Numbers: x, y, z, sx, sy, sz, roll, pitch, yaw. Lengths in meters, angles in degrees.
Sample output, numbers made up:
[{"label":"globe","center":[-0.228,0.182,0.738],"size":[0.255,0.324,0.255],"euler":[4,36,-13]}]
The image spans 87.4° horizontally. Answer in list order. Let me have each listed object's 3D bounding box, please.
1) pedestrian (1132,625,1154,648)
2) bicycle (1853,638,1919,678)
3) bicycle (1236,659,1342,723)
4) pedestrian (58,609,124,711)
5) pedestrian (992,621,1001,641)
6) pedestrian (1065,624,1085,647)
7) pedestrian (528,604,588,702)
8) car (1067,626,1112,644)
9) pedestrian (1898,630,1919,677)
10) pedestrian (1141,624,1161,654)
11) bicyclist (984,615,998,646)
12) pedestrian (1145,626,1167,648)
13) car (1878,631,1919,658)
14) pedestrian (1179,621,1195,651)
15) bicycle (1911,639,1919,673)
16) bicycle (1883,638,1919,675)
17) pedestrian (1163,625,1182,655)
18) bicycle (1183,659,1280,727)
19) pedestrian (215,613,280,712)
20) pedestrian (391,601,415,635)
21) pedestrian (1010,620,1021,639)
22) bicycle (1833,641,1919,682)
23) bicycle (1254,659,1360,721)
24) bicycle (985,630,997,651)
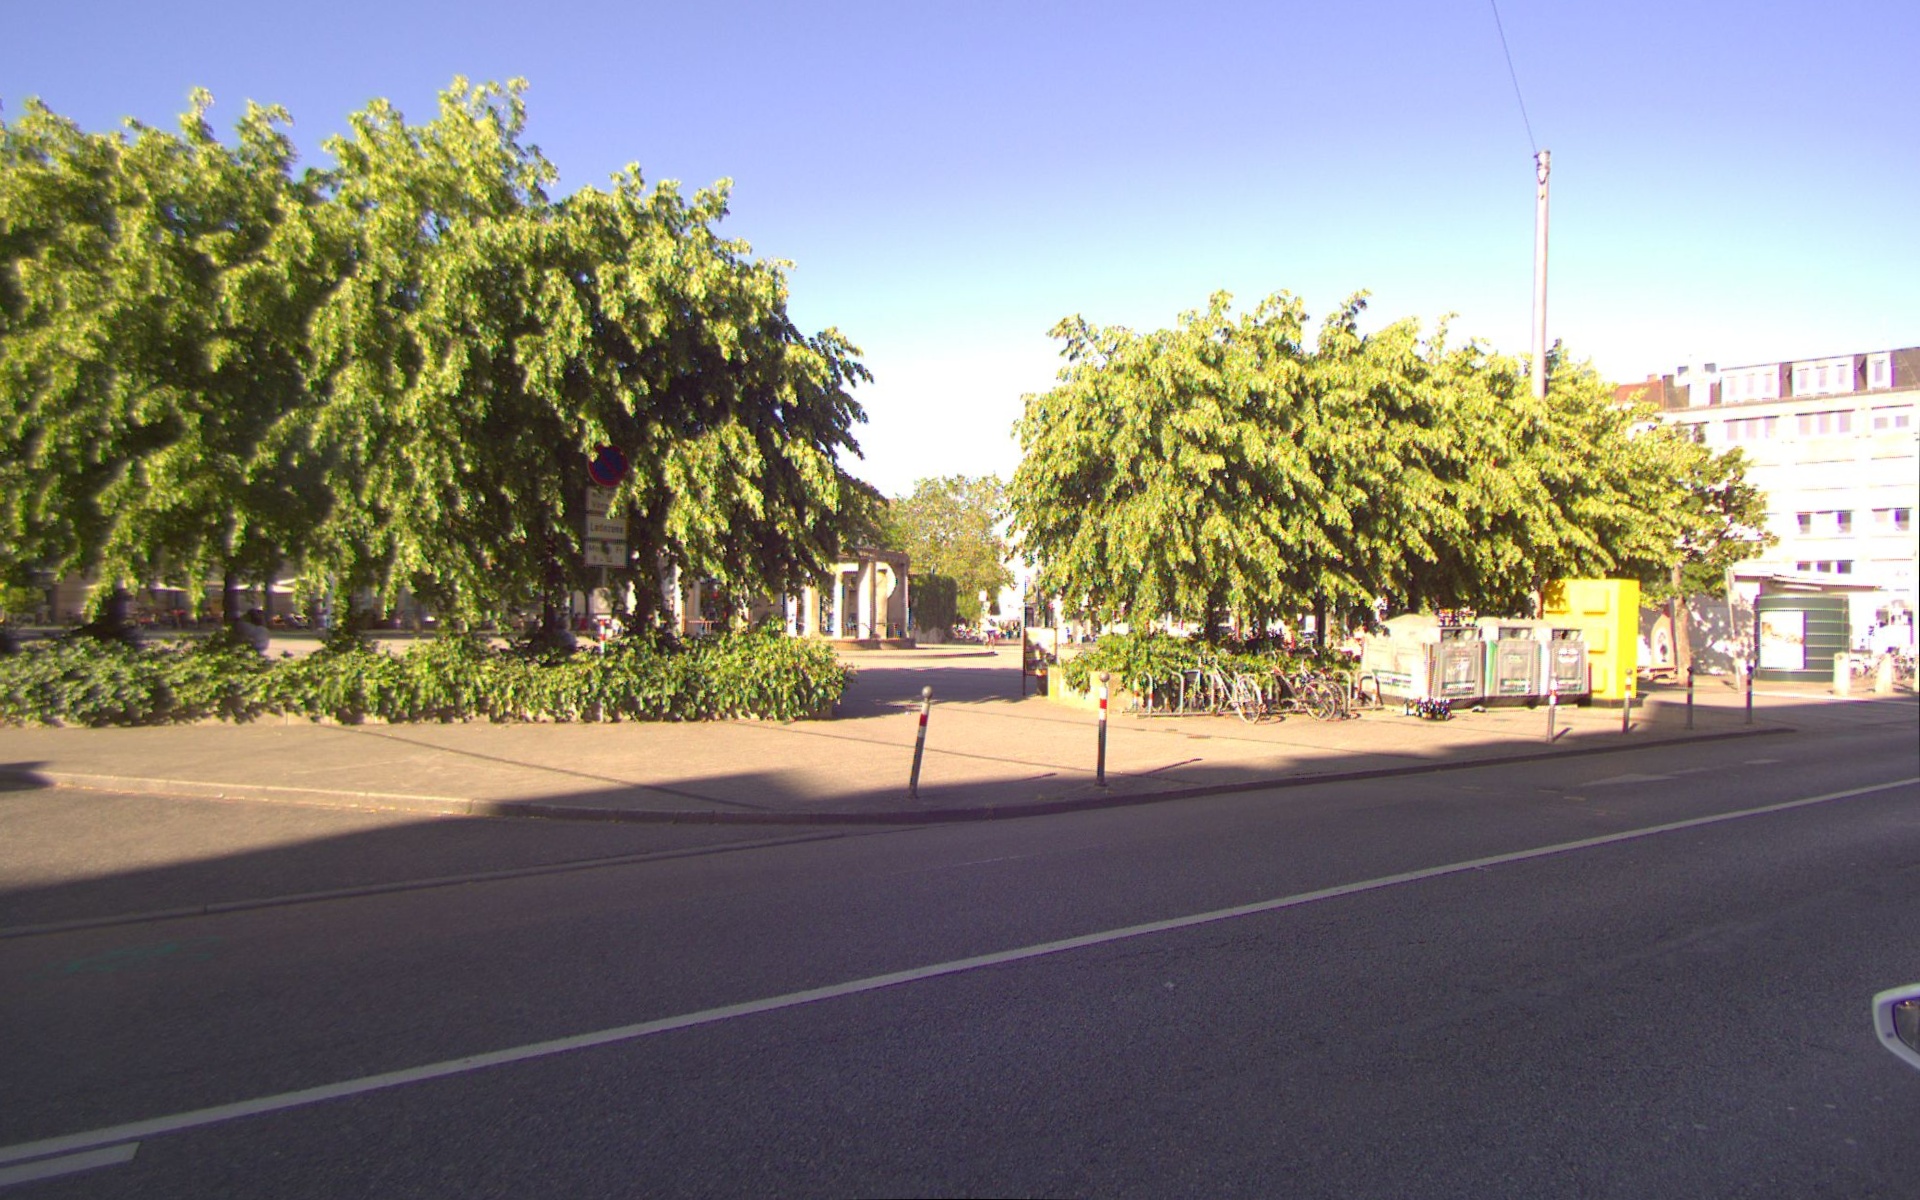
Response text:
[{"label":"pedestrian","center":[10.195,2.044,55.876],"size":[0.855,1.230,0.933],"euler":[2,0,-15]},{"label":"bicycle","center":[33.137,2.038,35.065],"size":[0.923,1.291,2.764],"euler":[2,0,-32]},{"label":"bicycle","center":[5.267,1.441,16.185],"size":[0.465,0.870,1.659],"euler":[2,0,-35]},{"label":"pedestrian","center":[-12.866,0.869,14.885],"size":[0.615,1.456,0.647],"euler":[2,0,-32]},{"label":"pedestrian","center":[3.789,3.272,104.569],"size":[0.836,2.040,0.855],"euler":[2,0,10]},{"label":"pedestrian","center":[9.576,2.961,83.786],"size":[1.277,1.867,1.100],"euler":[2,0,28]},{"label":"pedestrian","center":[-6.555,0.844,16.388],"size":[0.688,1.541,0.676],"euler":[2,0,-41]},{"label":"car","center":[11.705,3.159,90.896],"size":[1.538,1.550,4.086],"euler":[1,-1,-39]},{"label":"pedestrian","center":[34.314,1.916,35.874],"size":[1.080,1.633,1.260],"euler":[2,0,40]},{"label":"pedestrian","center":[10.100,2.047,53.176],"size":[0.904,1.541,0.936],"euler":[2,0,15]},{"label":"bicyclist","center":[1.792,1.763,57.734],"size":[0.773,1.722,0.896],"euler":[2,0,3]},{"label":"pedestrian","center":[11.013,2.078,56.451],"size":[0.885,1.230,0.864],"euler":[2,0,-15]},{"label":"car","center":[54.390,2.453,55.884],"size":[4.640,1.448,1.729],"euler":[-4,-5,37]},{"label":"pedestrian","center":[11.843,1.864,52.362],"size":[0.598,1.528,0.557],"euler":[2,0,-15]},{"label":"bicycle","center":[37.239,2.153,37.275],"size":[0.932,1.276,2.648],"euler":[2,0,-32]},{"label":"bicycle","center":[35.255,2.082,36.131],"size":[0.932,1.287,2.859],"euler":[2,0,-32]},{"label":"pedestrian","center":[11.081,2.075,52.346],"size":[0.762,1.541,0.838],"euler":[2,0,1]},{"label":"bicycle","center":[4.167,1.408,15.527],"size":[0.464,0.897,1.558],"euler":[2,0,-29]},{"label":"pedestrian","center":[-10.858,0.932,15.302],"size":[0.581,1.456,0.615],"euler":[2,0,33]},{"label":"pedestrian","center":[-25.609,0.836,46.153],"size":[0.683,1.550,0.737],"euler":[2,0,39]},{"label":"pedestrian","center":[5.468,2.925,99.126],"size":[0.891,1.845,0.952],"euler":[2,0,17]},{"label":"bicycle","center":[31.214,2.061,33.763],"size":[0.932,1.211,2.645],"euler":[2,0,-32]},{"label":"bicycle","center":[5.666,1.451,16.481],"size":[0.465,0.870,1.654],"euler":[2,0,-35]},{"label":"bicycle","center":[1.796,2.302,57.905],"size":[0.593,1.116,1.990],"euler":[2,0,3]}]
